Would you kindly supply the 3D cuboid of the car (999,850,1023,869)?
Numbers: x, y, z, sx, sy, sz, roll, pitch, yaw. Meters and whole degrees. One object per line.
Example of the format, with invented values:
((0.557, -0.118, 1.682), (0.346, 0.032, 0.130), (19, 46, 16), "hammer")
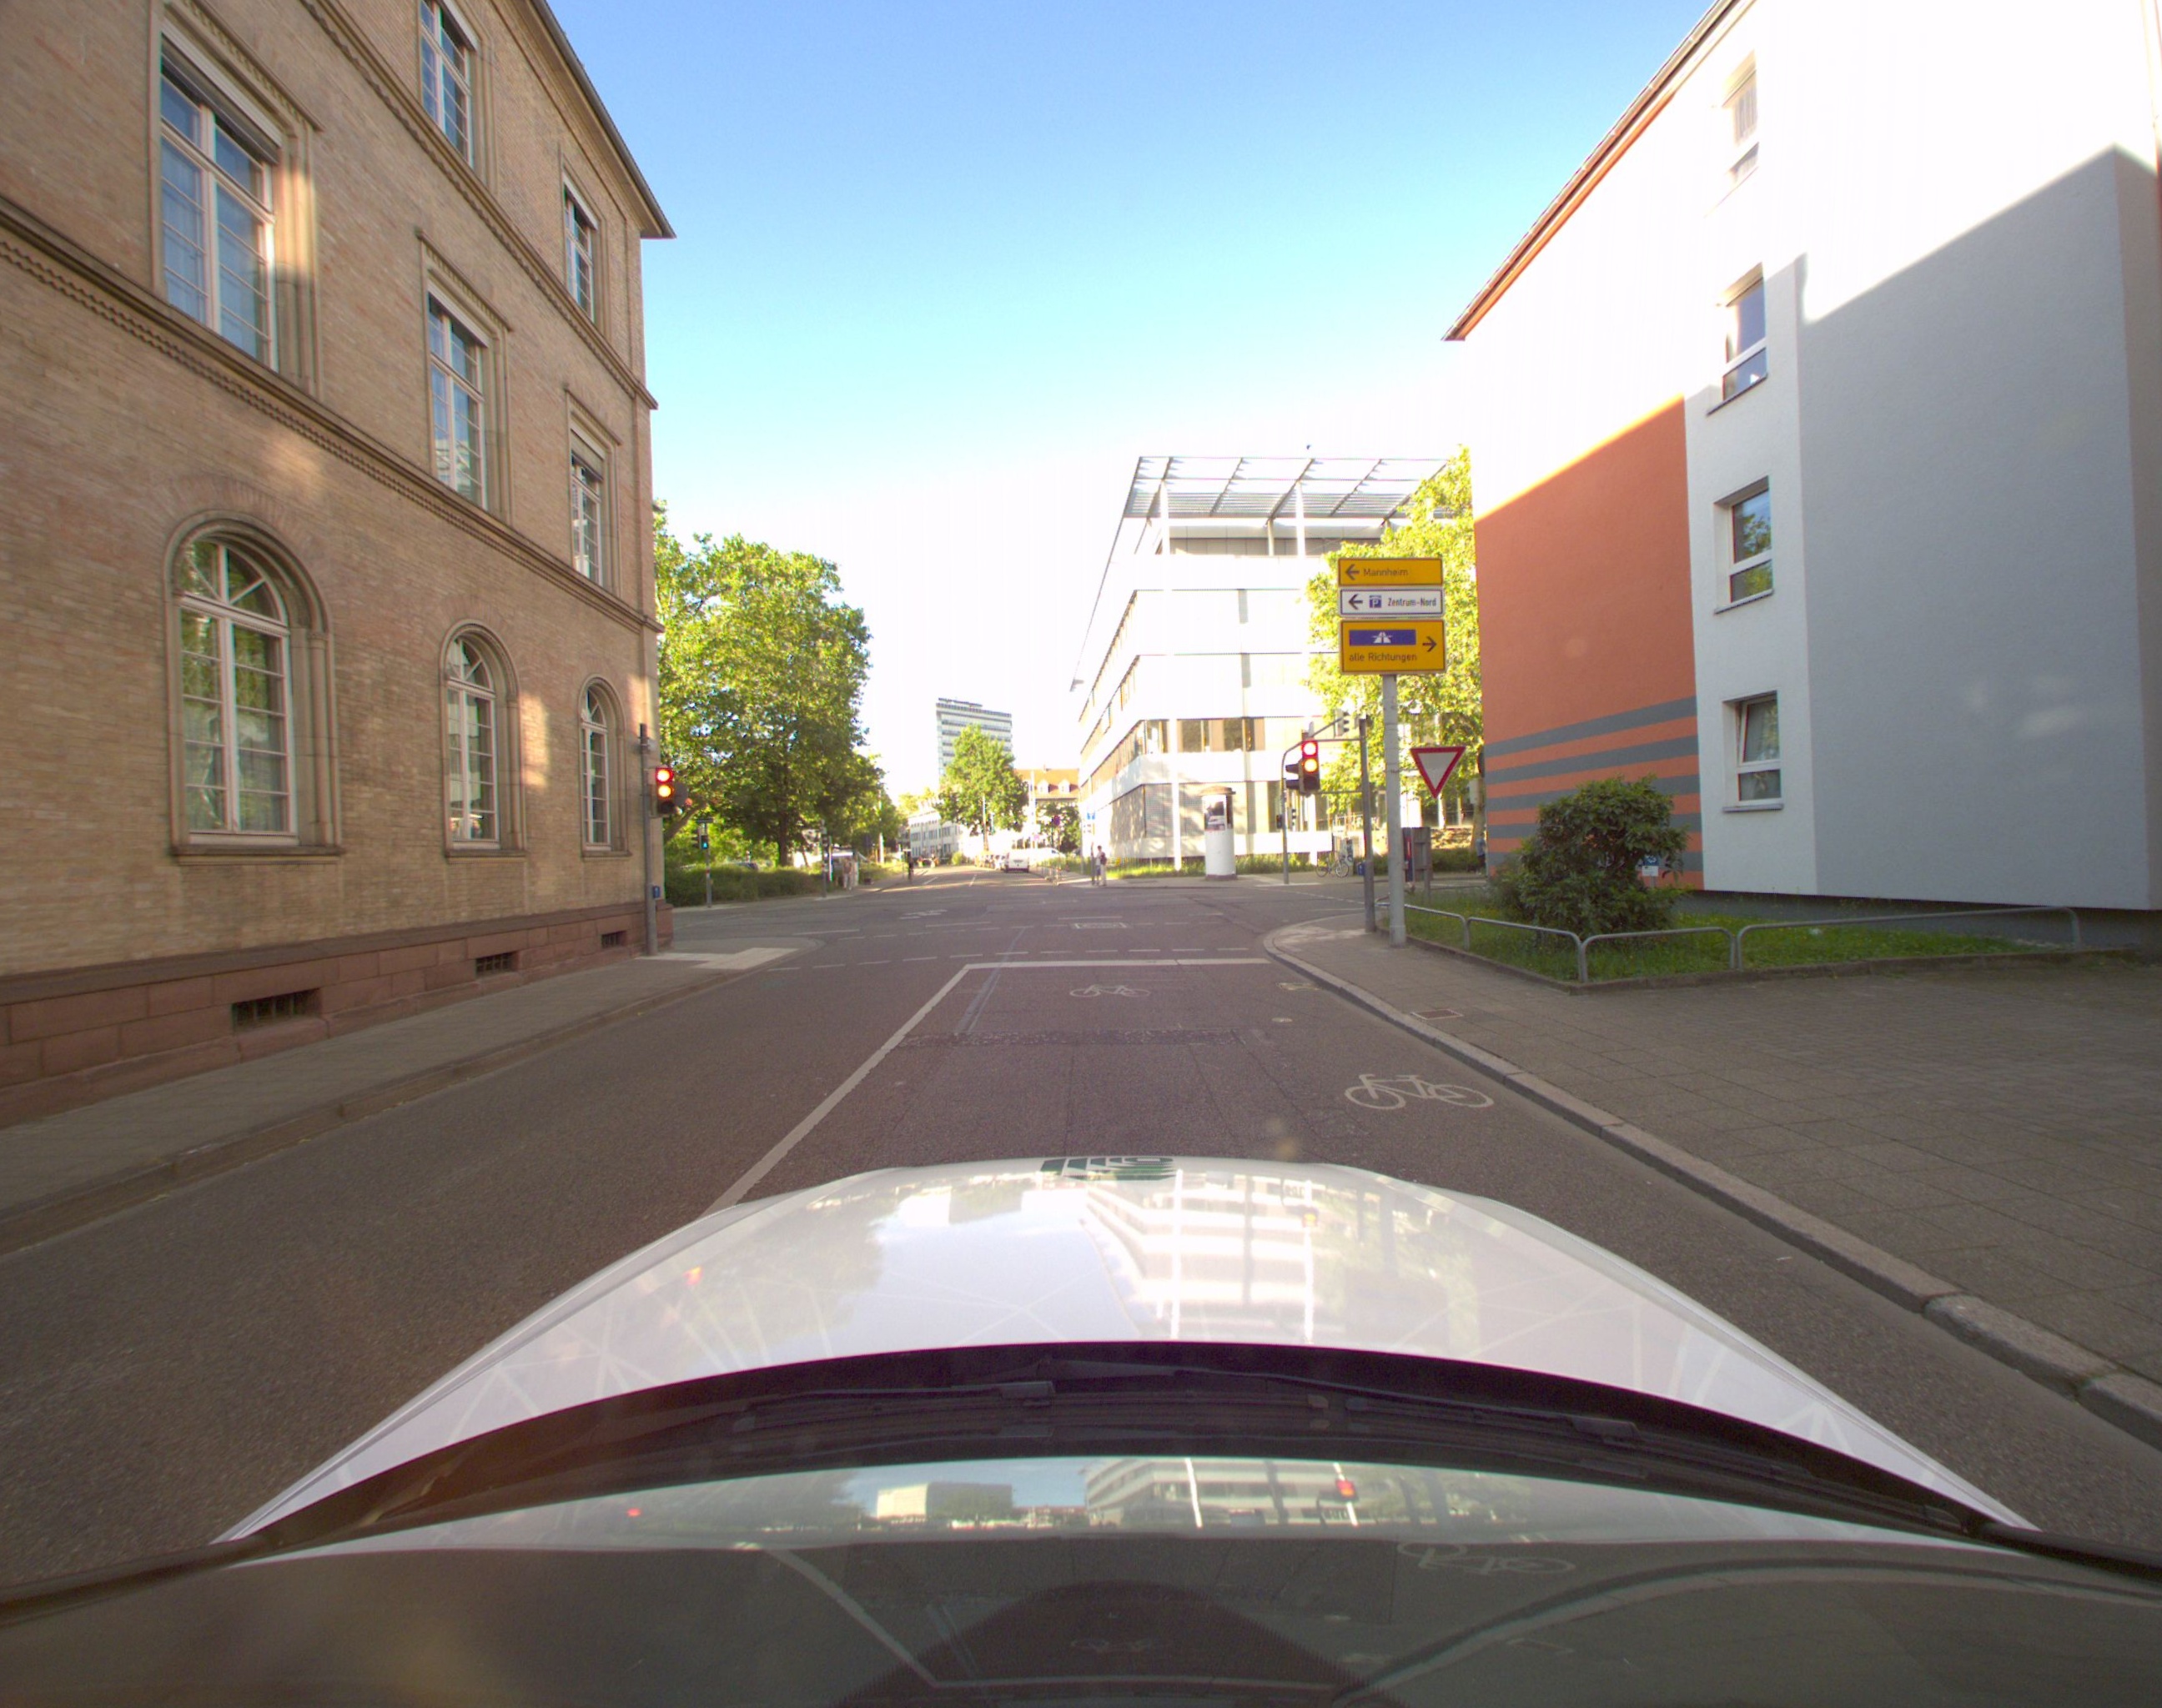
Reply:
((-6.342, 0.512, 73.281), (1.887, 1.555, 4.403), (-2, 1, -8), "car")

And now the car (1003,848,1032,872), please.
((-5.108, 0.457, 65.023), (2.084, 1.795, 4.403), (-2, 1, -8), "car")

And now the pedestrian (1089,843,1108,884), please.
((0.827, 0.452, 37.944), (0.555, 1.850, 0.680), (-5, 1, 18), "pedestrian")

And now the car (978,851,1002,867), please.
((-10.197, 0.488, 90.881), (1.893, 1.655, 4.390), (-2, 1, -16), "car")

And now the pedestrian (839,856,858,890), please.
((-12.280, 1.007, 42.980), (0.702, 1.723, 0.953), (-3, 0, -6), "pedestrian")

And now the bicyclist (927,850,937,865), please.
((-16.375, 0.376, 89.551), (0.866, 1.515, 1.015), (-5, 0, -10), "bicyclist")

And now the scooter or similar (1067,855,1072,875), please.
((-0.834, 0.766, 58.759), (0.329, 1.424, 1.333), (0, -1, -4), "scooter or similar")

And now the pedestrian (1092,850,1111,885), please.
((0.919, 0.610, 37.334), (0.561, 1.540, 0.673), (-5, 1, -16), "pedestrian")

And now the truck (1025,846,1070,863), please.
((-4.255, 0.086, 103.371), (5.351, 2.013, 1.988), (-2, 0, -17), "truck")

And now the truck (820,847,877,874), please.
((-21.617, 0.592, 75.839), (4.825, 2.399, 2.082), (-2, 0, -8), "truck")

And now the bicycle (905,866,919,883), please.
((-10.572, 1.282, 50.977), (0.615, 0.969, 1.837), (-3, 0, -7), "bicycle")

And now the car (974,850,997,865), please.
((-11.285, 0.438, 95.974), (1.893, 1.655, 4.390), (-2, 1, -16), "car")

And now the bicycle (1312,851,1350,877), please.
((11.024, 0.428, 35.925), (0.510, 1.049, 1.670), (-4, 3, -33), "bicycle")

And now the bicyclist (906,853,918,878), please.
((-10.597, 0.734, 51.000), (0.615, 1.532, 0.901), (-3, 0, -7), "bicyclist")

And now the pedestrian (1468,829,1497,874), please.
((16.891, -0.103, 34.293), (0.834, 1.840, 0.707), (0, 0, -8), "pedestrian")

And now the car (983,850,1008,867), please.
((-9.035, 0.444, 85.976), (1.893, 1.655, 4.390), (-2, 1, -16), "car")

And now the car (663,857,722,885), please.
((-37.177, 1.620, 78.127), (4.551, 2.391, 2.069), (-3, 0, -7), "car")

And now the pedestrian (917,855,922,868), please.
((-20.486, 0.931, 103.373), (0.435, 1.607, 0.489), (-2, 0, -24), "pedestrian")

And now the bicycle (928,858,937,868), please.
((-16.335, 0.959, 89.534), (0.866, 1.009, 2.406), (-5, 0, -10), "bicycle")

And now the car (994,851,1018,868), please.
((-7.276, 0.487, 78.679), (1.889, 1.555, 4.398), (-2, 1, -11), "car")

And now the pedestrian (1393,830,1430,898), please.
((9.198, 0.268, 22.717), (0.704, 1.840, 0.837), (0, 0, 1), "pedestrian")

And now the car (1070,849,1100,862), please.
((0.497, 0.190, 104.443), (3.563, 1.546, 1.549), (-2, 0, -17), "car")
